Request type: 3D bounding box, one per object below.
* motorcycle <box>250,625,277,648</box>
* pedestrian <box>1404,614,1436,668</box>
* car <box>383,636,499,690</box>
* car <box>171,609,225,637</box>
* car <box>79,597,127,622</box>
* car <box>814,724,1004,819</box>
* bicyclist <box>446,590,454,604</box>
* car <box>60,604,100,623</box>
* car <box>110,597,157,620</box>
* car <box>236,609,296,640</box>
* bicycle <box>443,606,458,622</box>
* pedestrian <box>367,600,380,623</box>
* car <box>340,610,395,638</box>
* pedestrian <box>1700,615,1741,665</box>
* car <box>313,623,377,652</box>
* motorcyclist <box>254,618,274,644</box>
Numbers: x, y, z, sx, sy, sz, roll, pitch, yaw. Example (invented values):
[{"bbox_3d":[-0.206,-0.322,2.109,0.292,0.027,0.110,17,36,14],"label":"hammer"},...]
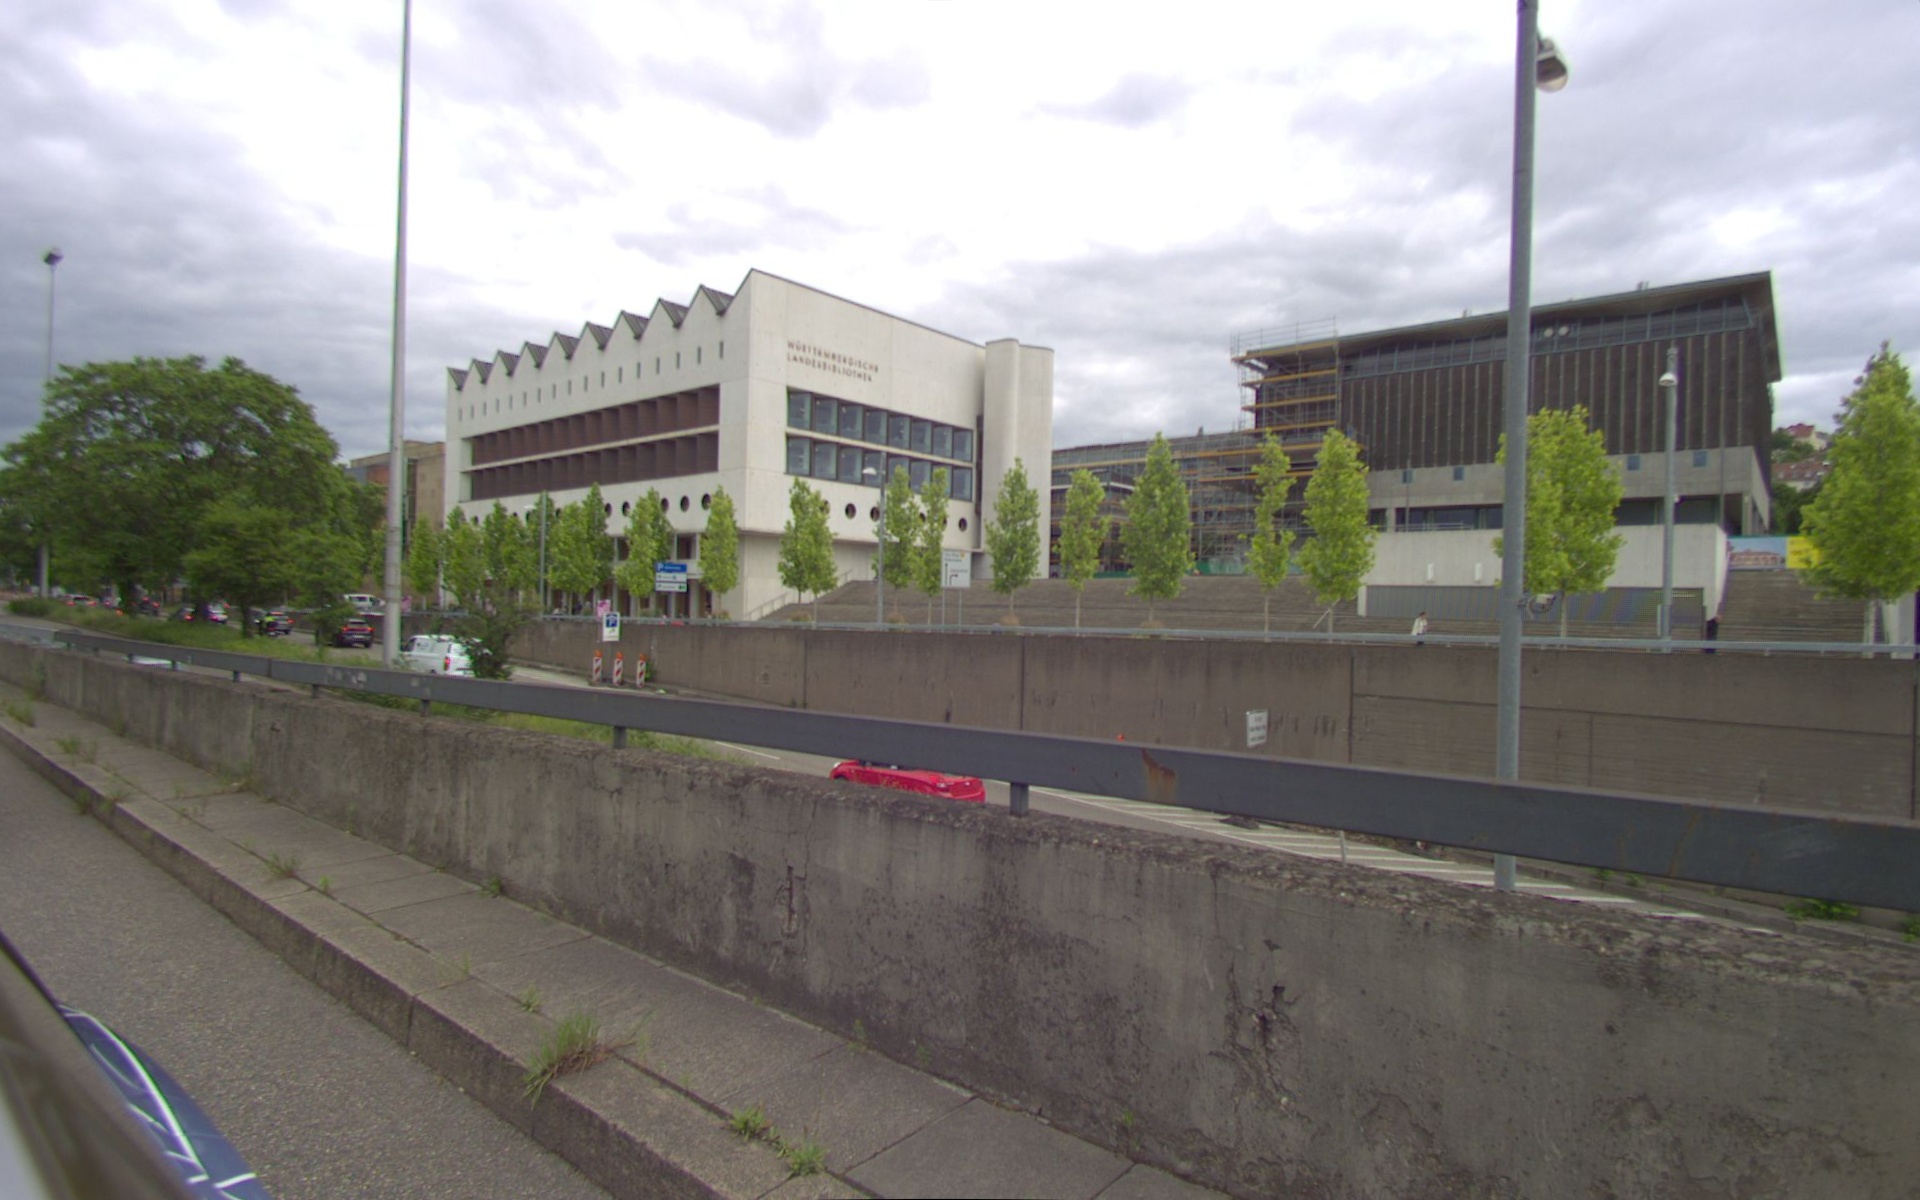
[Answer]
[{"bbox_3d":[-38.385,2.027,55.789,2.050,1.106,0.678,3,-2,41],"label":"motorcycle"},{"bbox_3d":[17.628,1.571,38.786,0.728,2.029,0.795,0,-2,-17],"label":"pedestrian"},{"bbox_3d":[-20.174,2.411,39.265,5.246,1.651,1.973,2,-5,40],"label":"car"},{"bbox_3d":[-47.571,1.413,63.183,4.144,1.500,1.757,3,0,40],"label":"car"},{"bbox_3d":[-64.089,0.710,75.676,4.515,1.687,1.973,0,-4,41],"label":"car"},{"bbox_3d":[-1.192,3.707,22.451,3.999,1.497,1.972,-1,-2,42],"label":"car"},{"bbox_3d":[-42.675,-0.232,84.686,0.643,1.169,0.398,1,1,39],"label":"bicyclist"},{"bbox_3d":[-74.663,1.147,85.823,3.998,1.409,1.973,0,-4,41],"label":"car"},{"bbox_3d":[-69.114,0.685,84.615,4.514,1.657,2.133,2,-2,40],"label":"car"},{"bbox_3d":[-44.079,1.535,64.231,4.386,1.624,1.852,4,0,38],"label":"car"},{"bbox_3d":[-42.647,1.183,84.690,1.697,1.282,0.398,1,1,39],"label":"bicycle"},{"bbox_3d":[-53.192,1.023,91.834,1.016,2.029,0.712,1,1,42],"label":"pedestrian"},{"bbox_3d":[-40.069,1.619,68.433,3.998,1.776,1.973,0,-3,41],"label":"car"},{"bbox_3d":[25.814,1.352,34.340,0.728,1.655,0.795,0,-2,-21],"label":"pedestrian"},{"bbox_3d":[-34.016,2.063,55.961,4.003,1.338,1.787,4,0,40],"label":"car"},{"bbox_3d":[-38.397,1.717,55.839,0.718,1.362,0.662,3,-3,41],"label":"motorcyclist"}]
